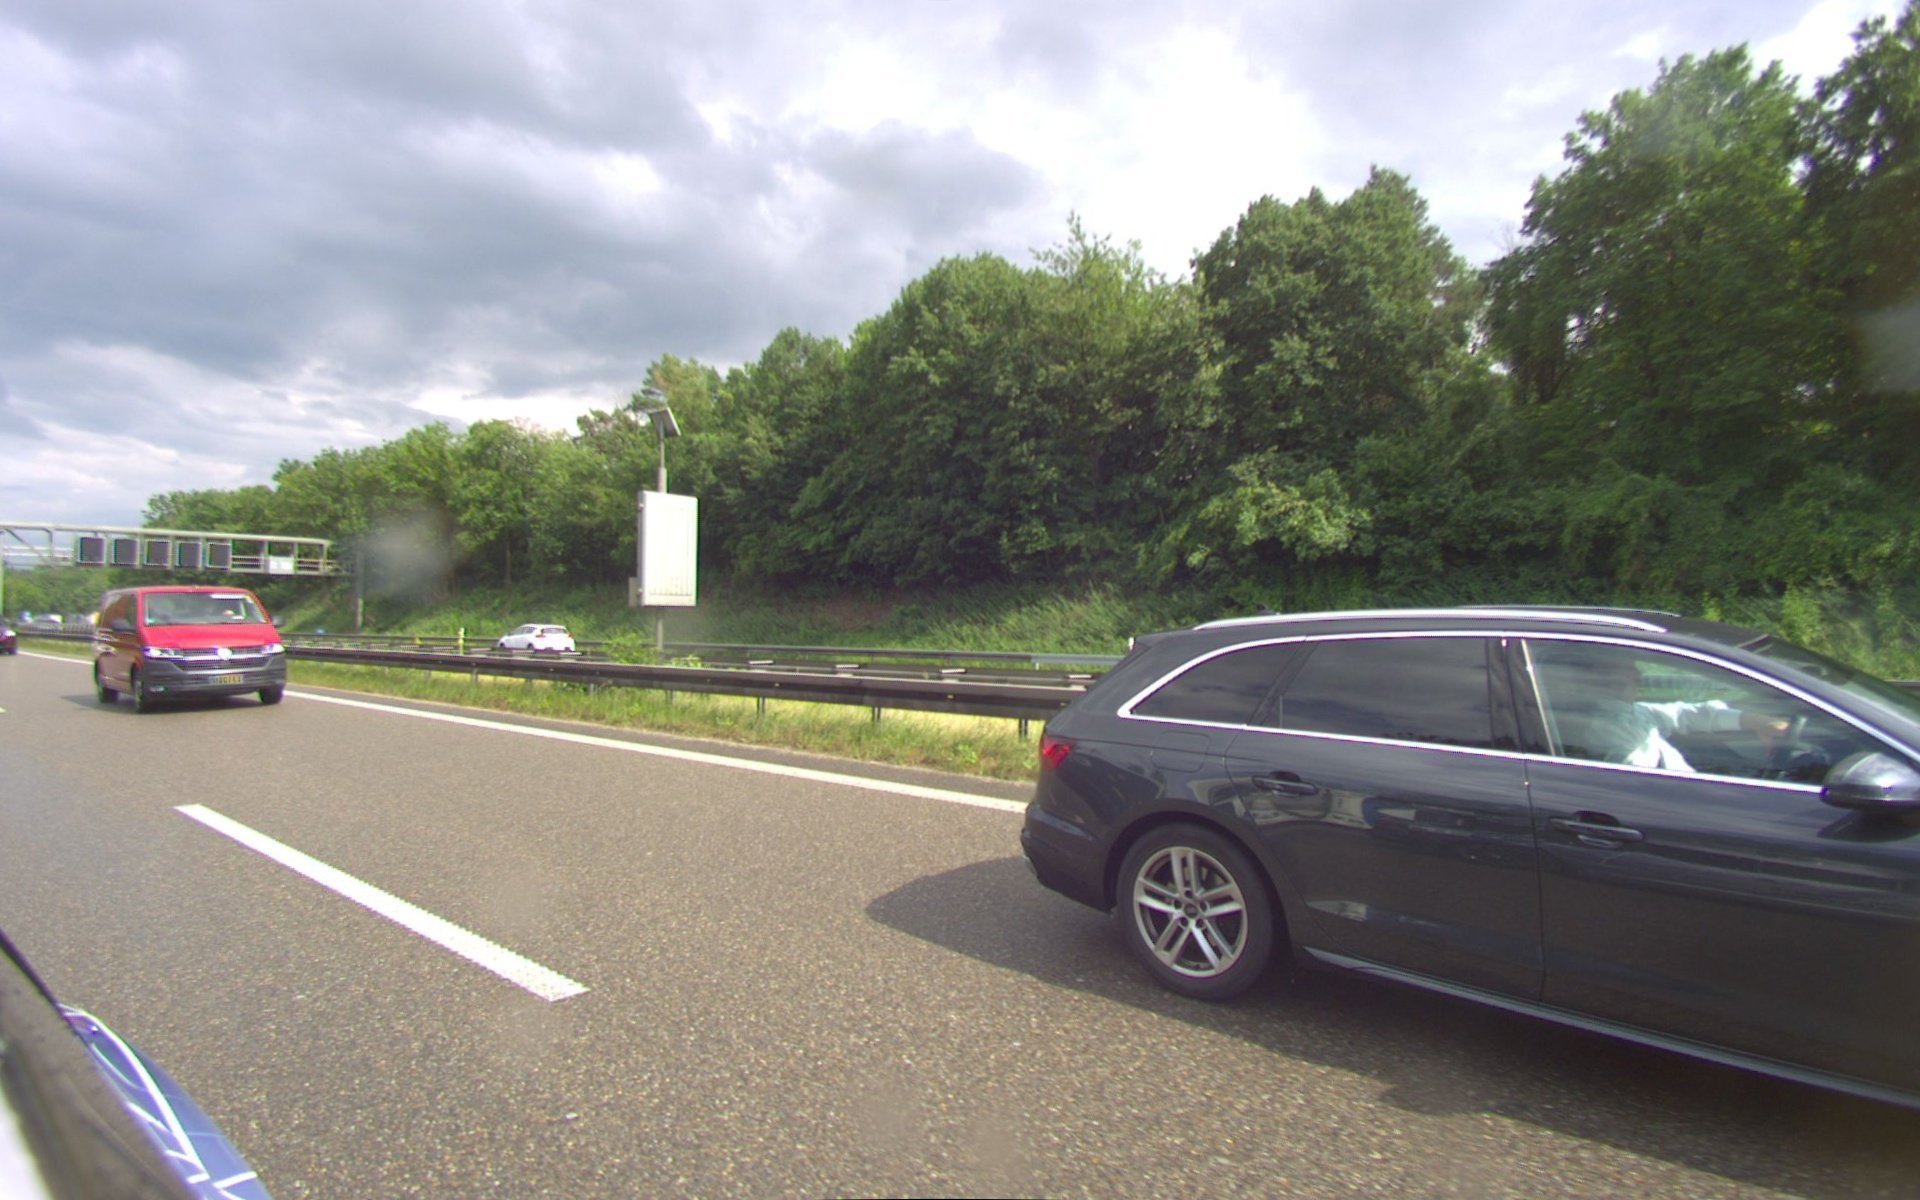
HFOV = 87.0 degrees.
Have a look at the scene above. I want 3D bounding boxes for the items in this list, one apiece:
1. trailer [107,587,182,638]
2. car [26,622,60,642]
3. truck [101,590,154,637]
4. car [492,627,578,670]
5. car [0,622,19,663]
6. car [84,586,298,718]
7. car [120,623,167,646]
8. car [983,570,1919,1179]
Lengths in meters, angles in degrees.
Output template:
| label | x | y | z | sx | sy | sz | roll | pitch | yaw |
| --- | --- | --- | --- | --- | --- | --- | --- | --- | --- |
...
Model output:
| label | x | y | z | sx | sy | sz | roll | pitch | yaw |
| --- | --- | --- | --- | --- | --- | --- | --- | --- | --- |
| trailer | -75.400 | 1.186 | 93.400 | 14.083 | 4.406 | 2.834 | -1 | 0 | 41 |
| car | -79.599 | 2.732 | 87.836 | 4.233 | 1.675 | 1.714 | -1 | 0 | 40 |
| truck | -80.310 | 1.266 | 97.597 | 6.864 | 4.406 | 2.834 | -1 | 0 | 40 |
| car | -18.320 | 2.057 | 43.542 | 4.233 | 1.675 | 1.714 | -1 | 0 | 40 |
| car | -38.723 | 1.663 | 39.857 | 4.837 | 1.508 | 1.983 | -1 | 0 | 41 |
| car | -12.791 | 0.764 | 16.708 | 4.837 | 1.880 | 1.902 | -1 | 0 | 41 |
| car | -62.719 | 2.621 | 77.735 | 4.695 | 1.675 | 1.996 | -1 | 0 | 40 |
| car | 2.494 | 0.643 | 3.347 | 4.837 | 1.429 | 1.775 | -1 | 0 | 41 |
